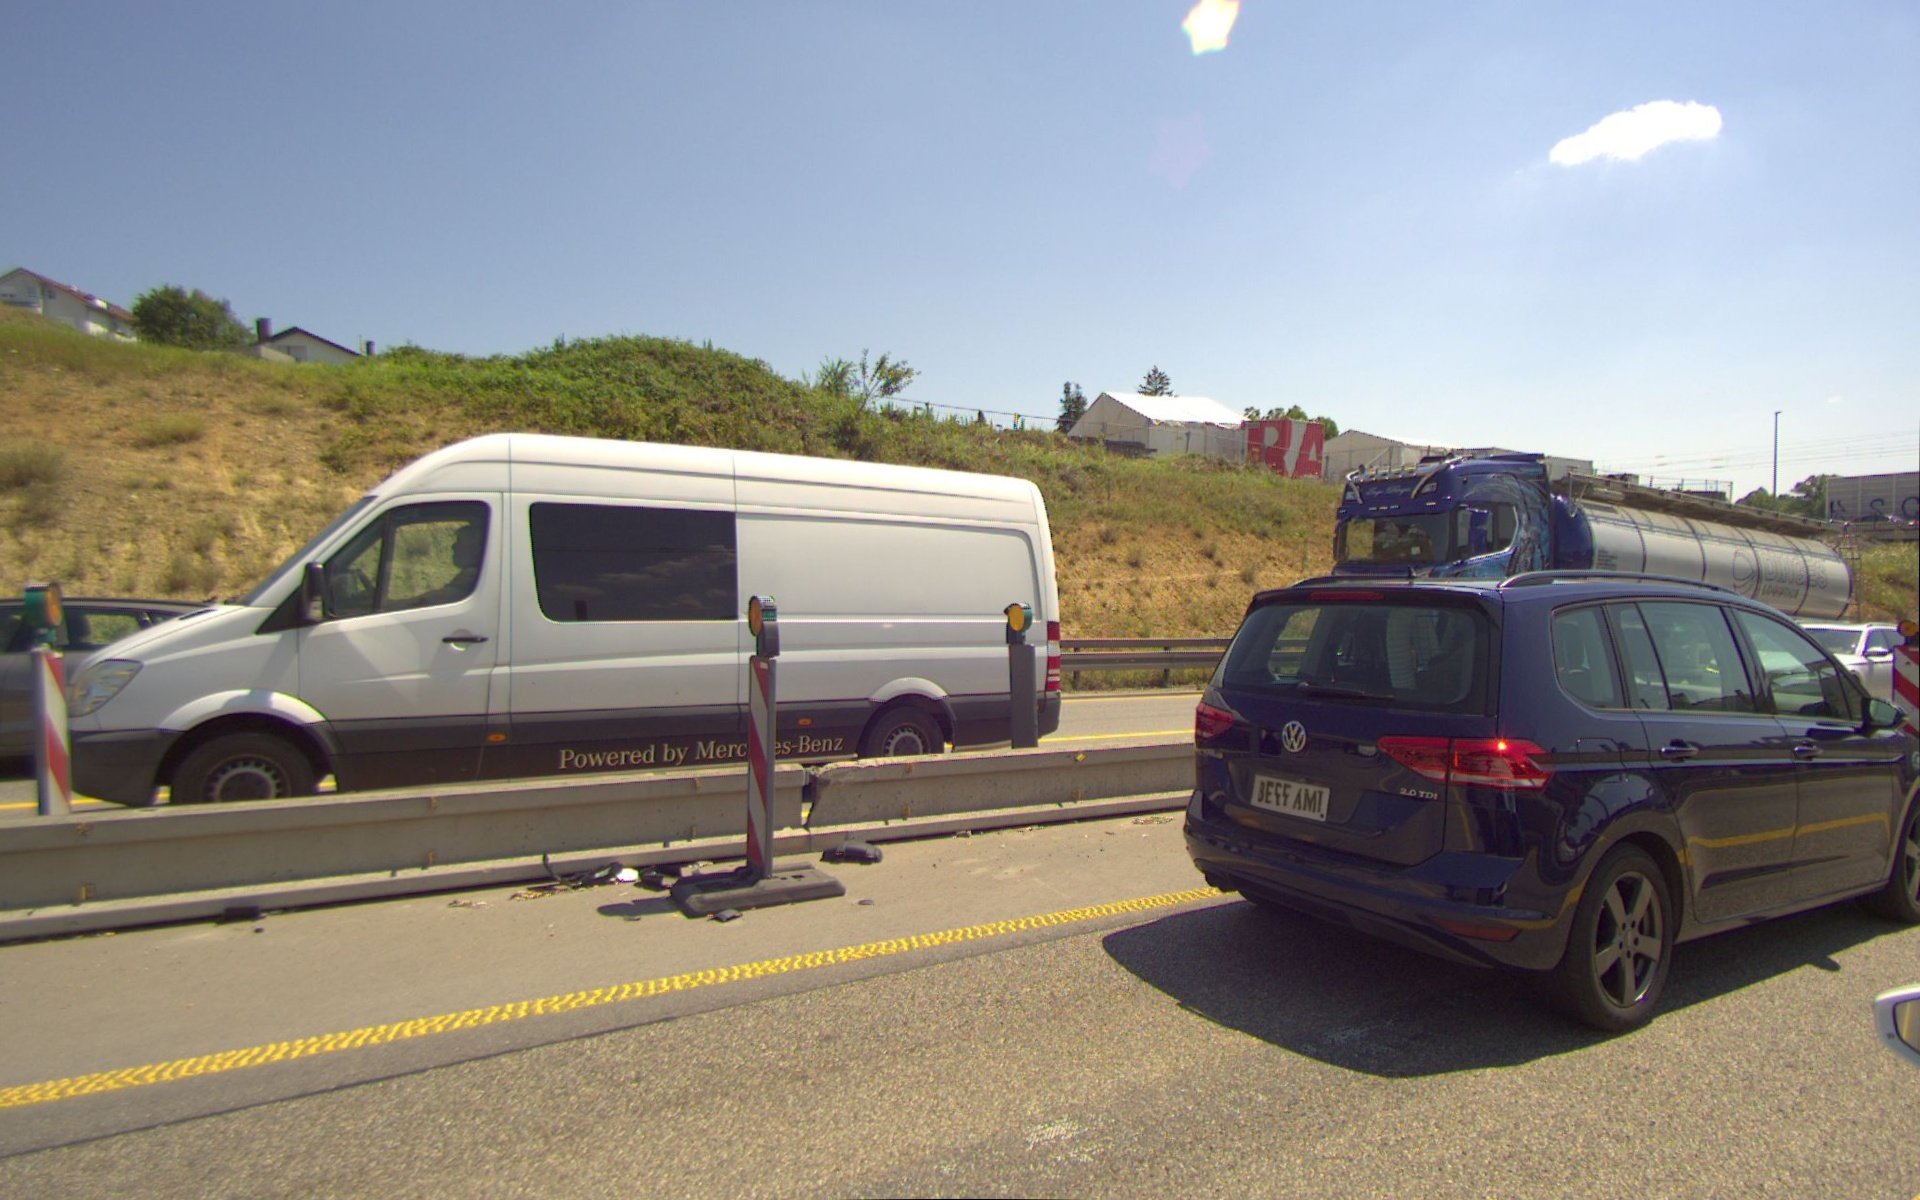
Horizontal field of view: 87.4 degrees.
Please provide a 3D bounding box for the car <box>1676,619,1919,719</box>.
[{"bbox_3d":[13.903,1.037,16.309,4.524,1.402,1.811,1,0,-27],"label":"car"}]

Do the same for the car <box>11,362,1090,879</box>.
[{"bbox_3d":[-2.358,0.134,7.765,6.929,2.642,1.983,1,1,-31],"label":"car"}]

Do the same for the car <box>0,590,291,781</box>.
[{"bbox_3d":[-8.136,0.652,8.385,4.078,1.466,1.757,1,0,-29],"label":"car"}]

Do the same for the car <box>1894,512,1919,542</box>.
[{"bbox_3d":[63.764,-4.815,64.981,1.930,1.807,4.549,1,0,-18],"label":"car"}]

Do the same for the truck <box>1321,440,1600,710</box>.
[{"bbox_3d":[8.505,-0.370,17.097,3.949,4.069,2.348,1,1,-28],"label":"truck"}]

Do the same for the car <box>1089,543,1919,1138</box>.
[{"bbox_3d":[2.982,0.680,4.886,4.598,1.741,1.767,-1,1,-31],"label":"car"}]

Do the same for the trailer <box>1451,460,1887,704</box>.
[{"bbox_3d":[14.748,-0.250,20.419,11.304,4.069,2.338,1,1,-28],"label":"trailer"}]
